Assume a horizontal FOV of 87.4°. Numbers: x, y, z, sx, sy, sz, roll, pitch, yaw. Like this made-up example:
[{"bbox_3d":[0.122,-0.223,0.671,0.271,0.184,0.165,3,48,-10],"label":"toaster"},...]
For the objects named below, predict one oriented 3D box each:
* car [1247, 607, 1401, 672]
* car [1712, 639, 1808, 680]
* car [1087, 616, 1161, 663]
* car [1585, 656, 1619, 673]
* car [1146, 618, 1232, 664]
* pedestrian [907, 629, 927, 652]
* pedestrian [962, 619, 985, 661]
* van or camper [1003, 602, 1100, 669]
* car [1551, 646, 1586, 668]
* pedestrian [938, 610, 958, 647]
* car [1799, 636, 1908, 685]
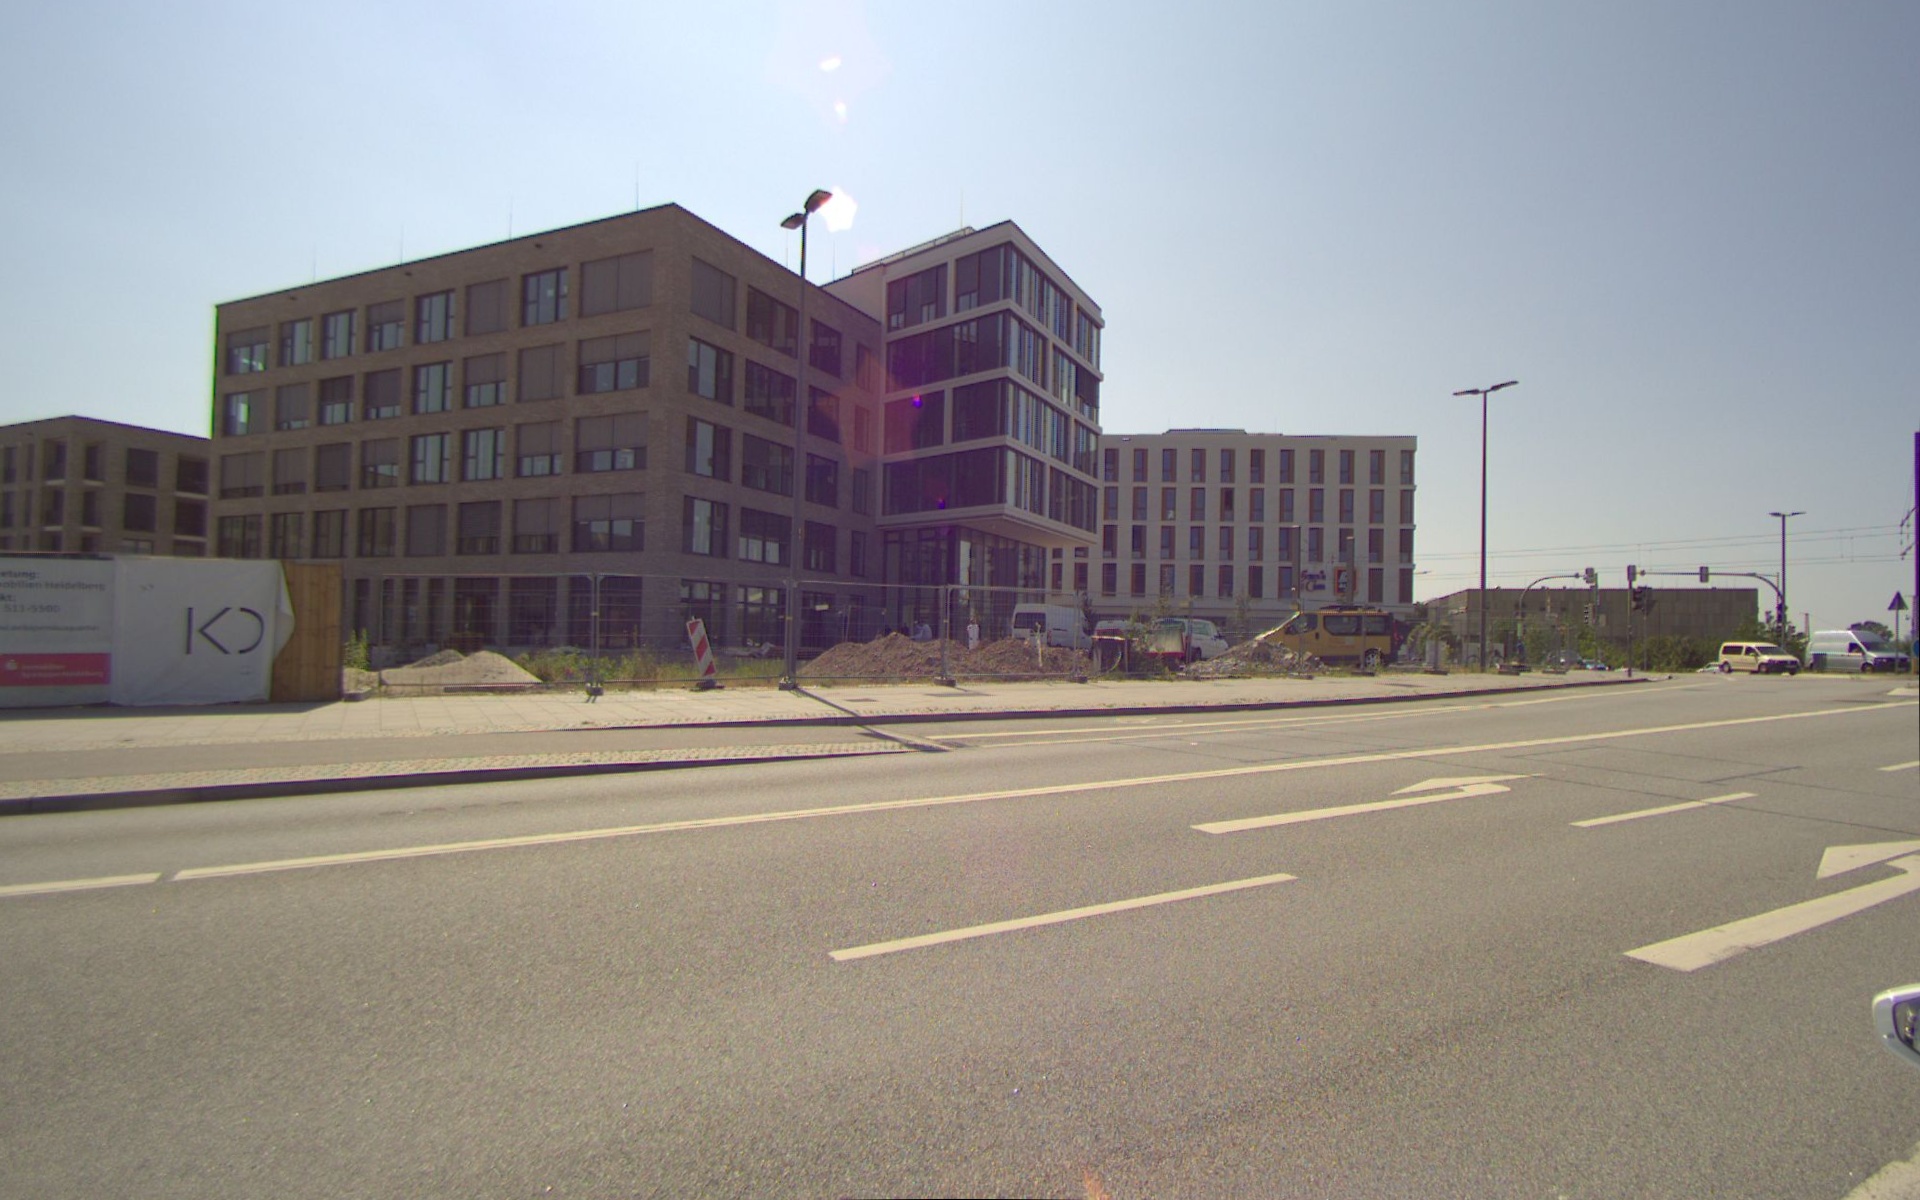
[{"bbox_3d":[12.148,1.290,33.789,4.533,1.988,1.991,2,0,9],"label":"car"},{"bbox_3d":[45.718,3.365,57.550,1.960,2.040,4.720,2,0,4],"label":"car"},{"bbox_3d":[7.168,1.687,43.648,1.760,1.881,3.841,2,0,33],"label":"car"},{"bbox_3d":[58.835,5.891,92.100,1.787,1.348,4.000,2,-2,20],"label":"car"},{"bbox_3d":[9.671,1.680,42.172,1.841,1.797,4.637,2,0,36],"label":"car"},{"bbox_3d":[-2.040,1.929,47.511,0.734,1.041,0.699,2,0,16],"label":"pedestrian"},{"bbox_3d":[0.569,1.668,42.350,0.734,1.741,0.699,2,0,16],"label":"pedestrian"},{"bbox_3d":[4.176,1.543,45.138,2.273,2.772,4.975,2,0,32],"label":"van or camper"},{"bbox_3d":[44.344,4.135,73.219,1.646,1.496,3.405,0,-1,22],"label":"car"},{"bbox_3d":[-0.584,1.380,48.925,0.734,1.741,0.699,2,0,16],"label":"pedestrian"},{"bbox_3d":[48.581,3.255,54.782,1.748,2.407,5.019,1,-1,5],"label":"car"}]
